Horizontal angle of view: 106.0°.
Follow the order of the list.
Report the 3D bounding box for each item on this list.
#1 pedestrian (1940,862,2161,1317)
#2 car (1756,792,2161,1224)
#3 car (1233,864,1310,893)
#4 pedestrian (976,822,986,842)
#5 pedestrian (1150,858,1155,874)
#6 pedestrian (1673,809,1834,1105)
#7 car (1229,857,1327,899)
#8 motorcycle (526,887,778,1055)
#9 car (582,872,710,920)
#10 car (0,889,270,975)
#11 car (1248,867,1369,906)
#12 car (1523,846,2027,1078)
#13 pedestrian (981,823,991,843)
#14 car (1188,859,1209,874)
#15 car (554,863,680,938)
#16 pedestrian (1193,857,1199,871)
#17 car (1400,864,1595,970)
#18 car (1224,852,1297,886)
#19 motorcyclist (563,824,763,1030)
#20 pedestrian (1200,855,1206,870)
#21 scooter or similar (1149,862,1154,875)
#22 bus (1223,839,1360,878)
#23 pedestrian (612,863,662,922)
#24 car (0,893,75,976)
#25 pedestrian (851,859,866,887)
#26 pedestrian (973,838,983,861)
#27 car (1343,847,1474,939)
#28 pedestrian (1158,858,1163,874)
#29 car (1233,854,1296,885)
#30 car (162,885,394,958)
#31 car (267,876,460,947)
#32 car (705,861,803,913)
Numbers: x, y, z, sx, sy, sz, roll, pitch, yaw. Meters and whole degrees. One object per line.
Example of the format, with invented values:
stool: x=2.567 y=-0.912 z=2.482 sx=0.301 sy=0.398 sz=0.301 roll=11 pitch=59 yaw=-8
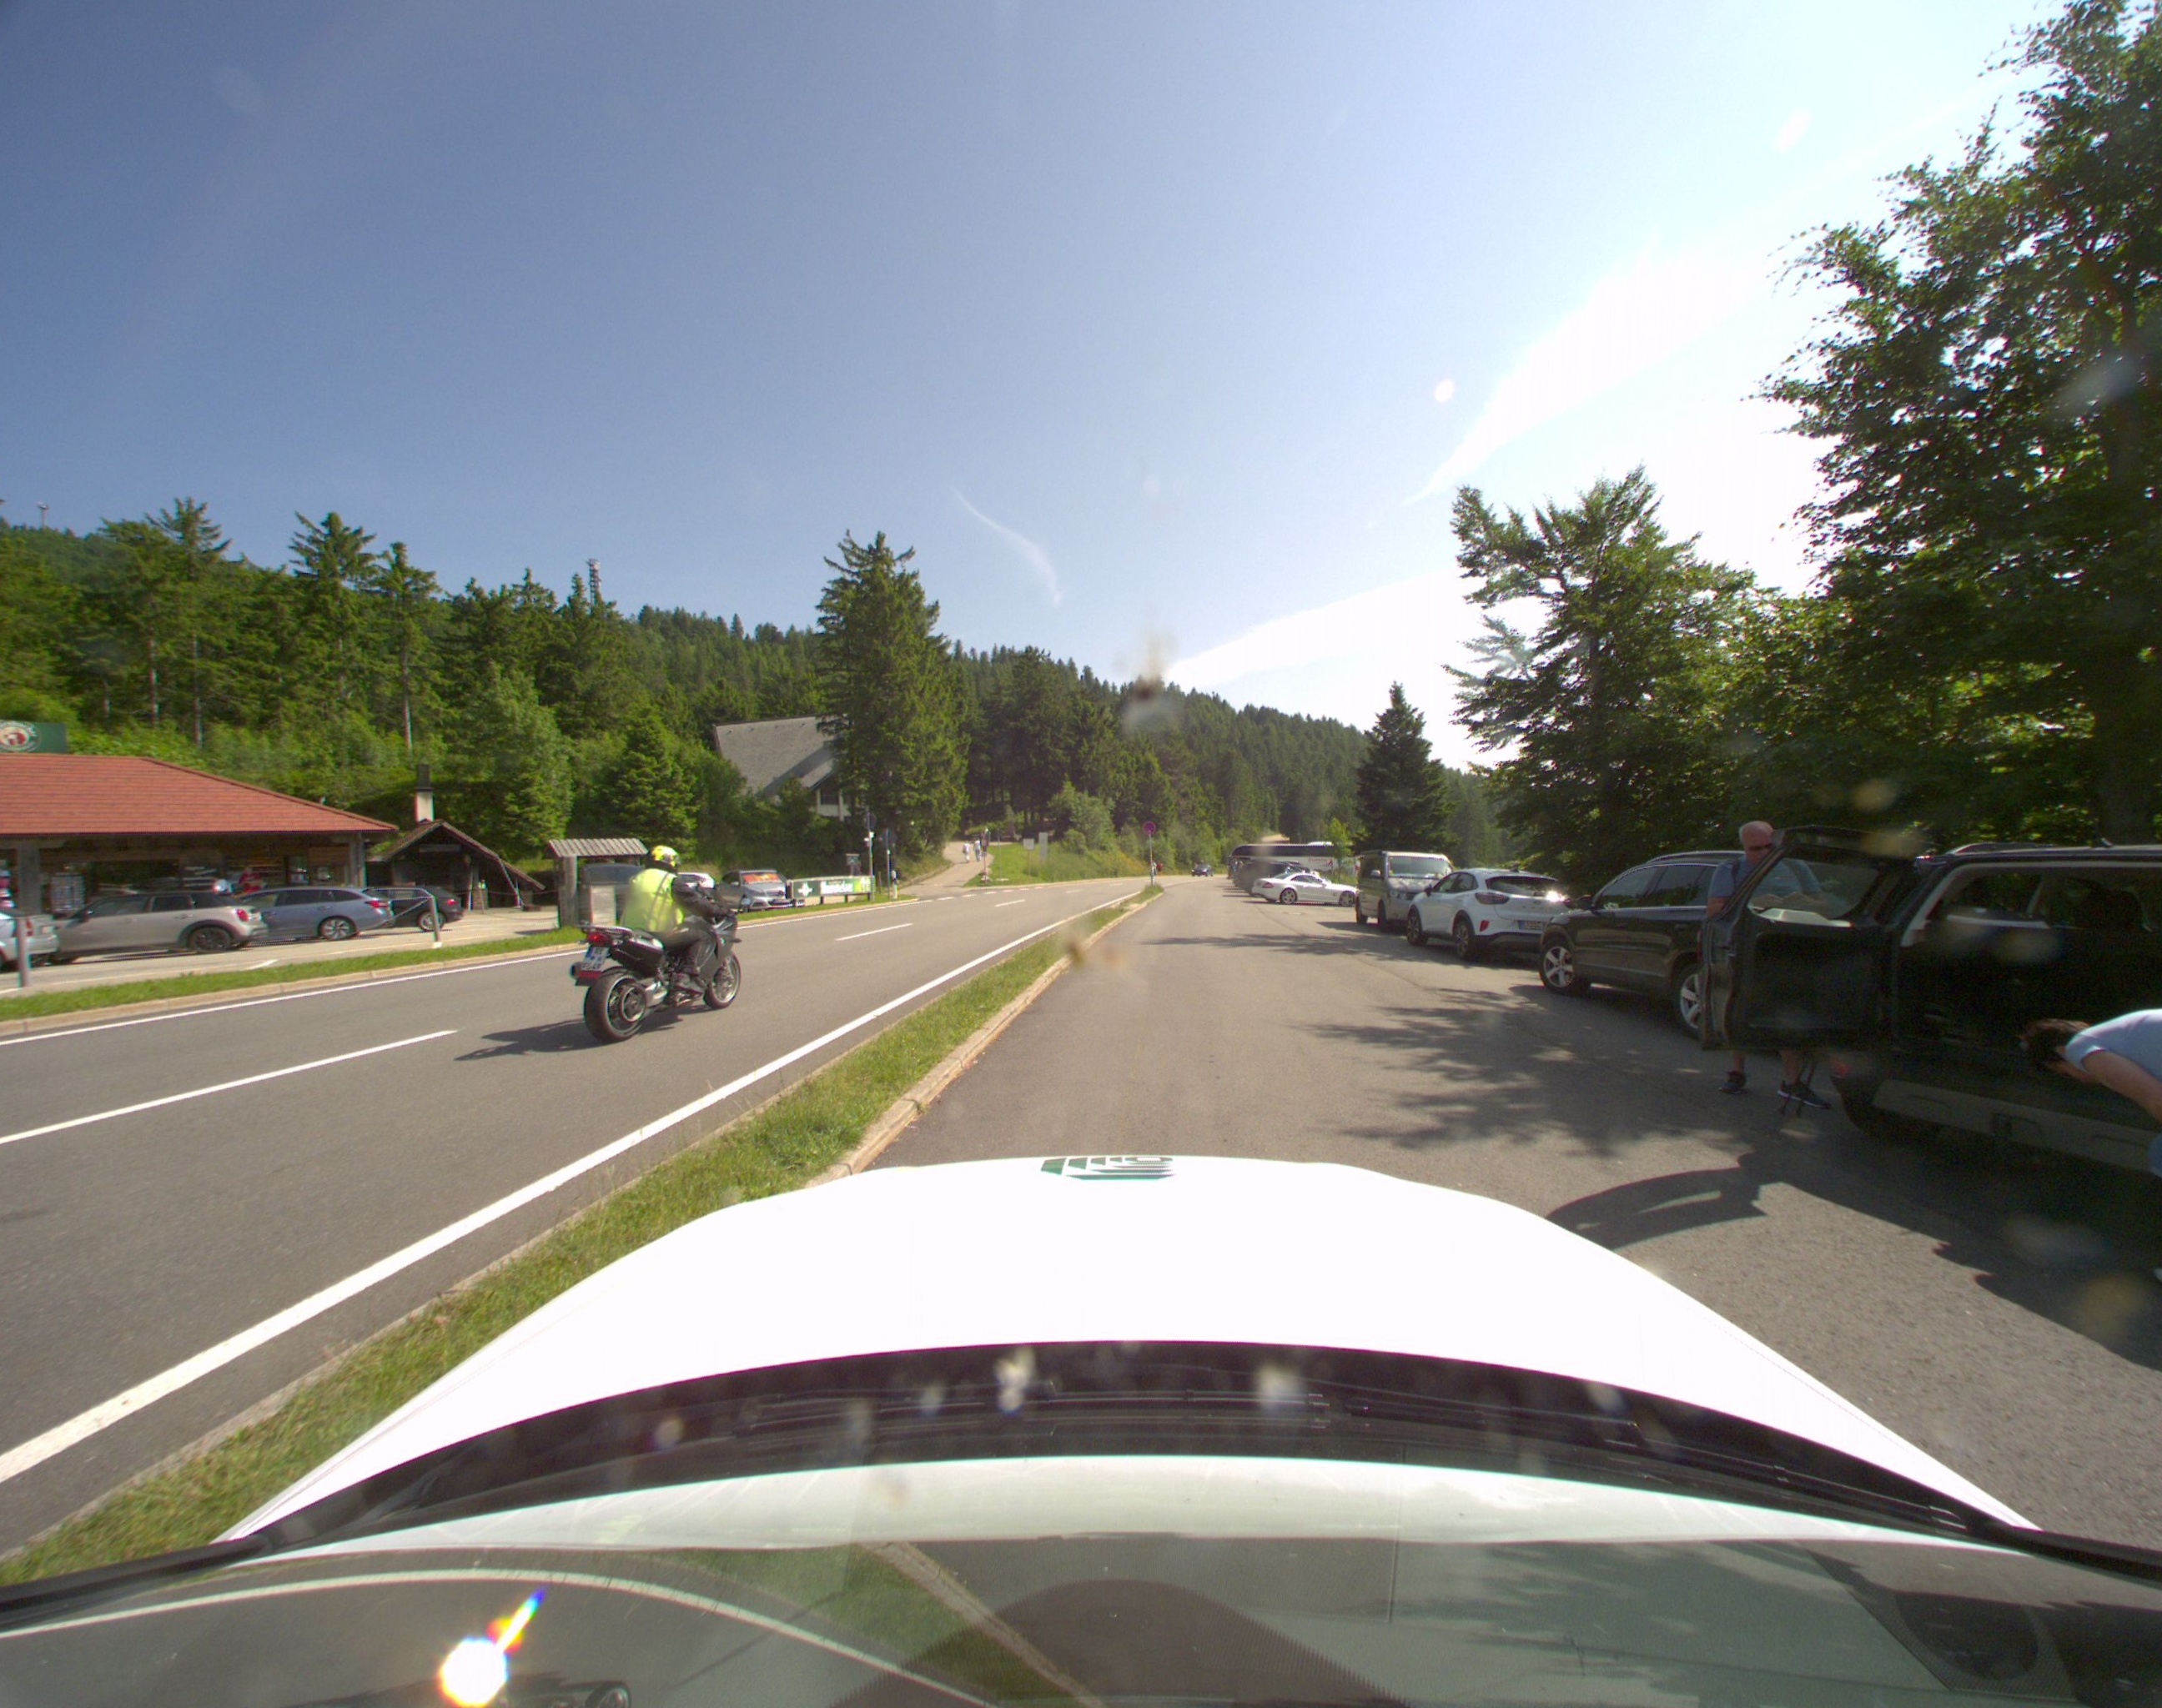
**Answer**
pedestrian: x=3.771 y=0.756 z=2.860 sx=0.768 sy=1.402 sz=0.671 roll=-3 pitch=1 yaw=13
car: x=5.909 y=0.696 z=4.228 sx=4.001 sy=1.662 sz=1.986 roll=3 pitch=-1 yaw=-21
car: x=9.593 y=1.237 z=41.254 sx=3.618 sy=1.303 sz=1.644 roll=1 pitch=1 yaw=6
pedestrian: x=-10.299 y=-2.272 z=83.796 sx=0.795 sy=2.013 sz=0.939 roll=-3 pitch=1 yaw=-2
pedestrian: x=7.798 y=1.342 z=89.083 sx=0.412 sy=1.747 sz=0.458 roll=-3 pitch=1 yaw=6
pedestrian: x=4.283 y=0.610 z=5.227 sx=0.626 sy=1.761 sz=0.583 roll=1 pitch=-1 yaw=21
car: x=9.087 y=1.087 z=37.823 sx=3.975 sy=1.699 sz=2.000 roll=3 pitch=1 yaw=-1
motorcycle: x=-3.694 y=0.933 z=7.332 sx=0.817 sy=1.177 sz=2.291 roll=-1 pitch=0 yaw=7
car: x=-16.785 y=1.564 z=31.526 sx=4.023 sy=1.494 sz=1.664 roll=-3 pitch=2 yaw=-43
car: x=-20.809 y=1.654 z=17.858 sx=4.019 sy=1.419 sz=1.666 roll=-4 pitch=-1 yaw=-37
car: x=9.254 y=1.318 z=33.231 sx=4.452 sy=1.298 sz=1.577 roll=3 pitch=0 yaw=-10
car: x=6.317 y=0.821 z=8.220 sx=1.735 sy=1.632 sz=4.316 roll=3 pitch=-1 yaw=6
pedestrian: x=-9.615 y=-2.154 z=82.733 sx=0.813 sy=2.013 sz=0.853 roll=-3 pitch=1 yaw=-2
car: x=14.068 y=1.484 z=97.377 sx=1.979 sy=1.662 sz=4.015 roll=-2 pitch=0 yaw=14
car: x=-11.684 y=1.110 z=20.380 sx=1.799 sy=1.634 sz=4.159 roll=-1 pitch=-1 yaw=-43
pedestrian: x=15.622 y=1.392 z=110.545 sx=0.619 sy=1.900 sz=0.656 roll=-3 pitch=-2 yaw=6
car: x=7.137 y=0.994 z=14.436 sx=1.671 sy=1.518 sz=4.055 roll=3 pitch=-1 yaw=5
car: x=10.499 y=0.871 z=47.761 sx=3.966 sy=1.719 sz=1.871 roll=2 pitch=2 yaw=7
motorcyclist: x=-3.686 y=0.597 z=7.321 sx=1.020 sy=1.675 sz=1.296 roll=-1 pitch=0 yaw=7
pedestrian: x=16.330 y=1.177 z=109.241 sx=0.729 sy=2.014 sz=0.864 roll=-3 pitch=-2 yaw=7
scooter or similar: x=7.662 y=1.542 z=88.471 sx=0.480 sy=1.380 sz=0.819 roll=-3 pitch=1 yaw=7
bus: x=20.699 y=0.463 z=80.469 sx=12.746 sy=3.578 sz=2.999 roll=-1 pitch=2 yaw=23
pedestrian: x=-13.749 y=1.170 z=25.245 sx=0.891 sy=1.734 sz=0.962 roll=-3 pitch=1 yaw=6
car: x=-21.552 y=1.610 z=14.624 sx=4.046 sy=1.468 sz=1.756 roll=-4 pitch=0 yaw=-39
pedestrian: x=-12.555 y=1.048 z=45.949 sx=0.574 sy=1.532 sz=0.554 roll=-3 pitch=1 yaw=6
pedestrian: x=-7.968 y=-0.347 z=62.913 sx=0.650 sy=1.799 sz=0.643 roll=-2 pitch=-1 yaw=0
car: x=8.175 y=0.883 z=20.807 sx=1.895 sy=1.972 sz=4.829 roll=3 pitch=0 yaw=7
pedestrian: x=8.617 y=1.310 z=88.477 sx=0.392 sy=1.747 sz=0.407 roll=-3 pitch=1 yaw=6
car: x=12.310 y=1.017 z=54.737 sx=3.963 sy=1.814 sz=1.945 roll=2 pitch=2 yaw=9
car: x=-20.478 y=1.683 z=21.042 sx=4.019 sy=1.419 sz=1.665 roll=-4 pitch=-1 yaw=-37
car: x=-20.854 y=1.604 z=23.931 sx=4.018 sy=1.618 sz=1.978 roll=-4 pitch=1 yaw=-36
car: x=-10.622 y=1.046 z=26.294 sx=1.753 sy=1.441 sz=3.923 roll=-4 pitch=1 yaw=-40
